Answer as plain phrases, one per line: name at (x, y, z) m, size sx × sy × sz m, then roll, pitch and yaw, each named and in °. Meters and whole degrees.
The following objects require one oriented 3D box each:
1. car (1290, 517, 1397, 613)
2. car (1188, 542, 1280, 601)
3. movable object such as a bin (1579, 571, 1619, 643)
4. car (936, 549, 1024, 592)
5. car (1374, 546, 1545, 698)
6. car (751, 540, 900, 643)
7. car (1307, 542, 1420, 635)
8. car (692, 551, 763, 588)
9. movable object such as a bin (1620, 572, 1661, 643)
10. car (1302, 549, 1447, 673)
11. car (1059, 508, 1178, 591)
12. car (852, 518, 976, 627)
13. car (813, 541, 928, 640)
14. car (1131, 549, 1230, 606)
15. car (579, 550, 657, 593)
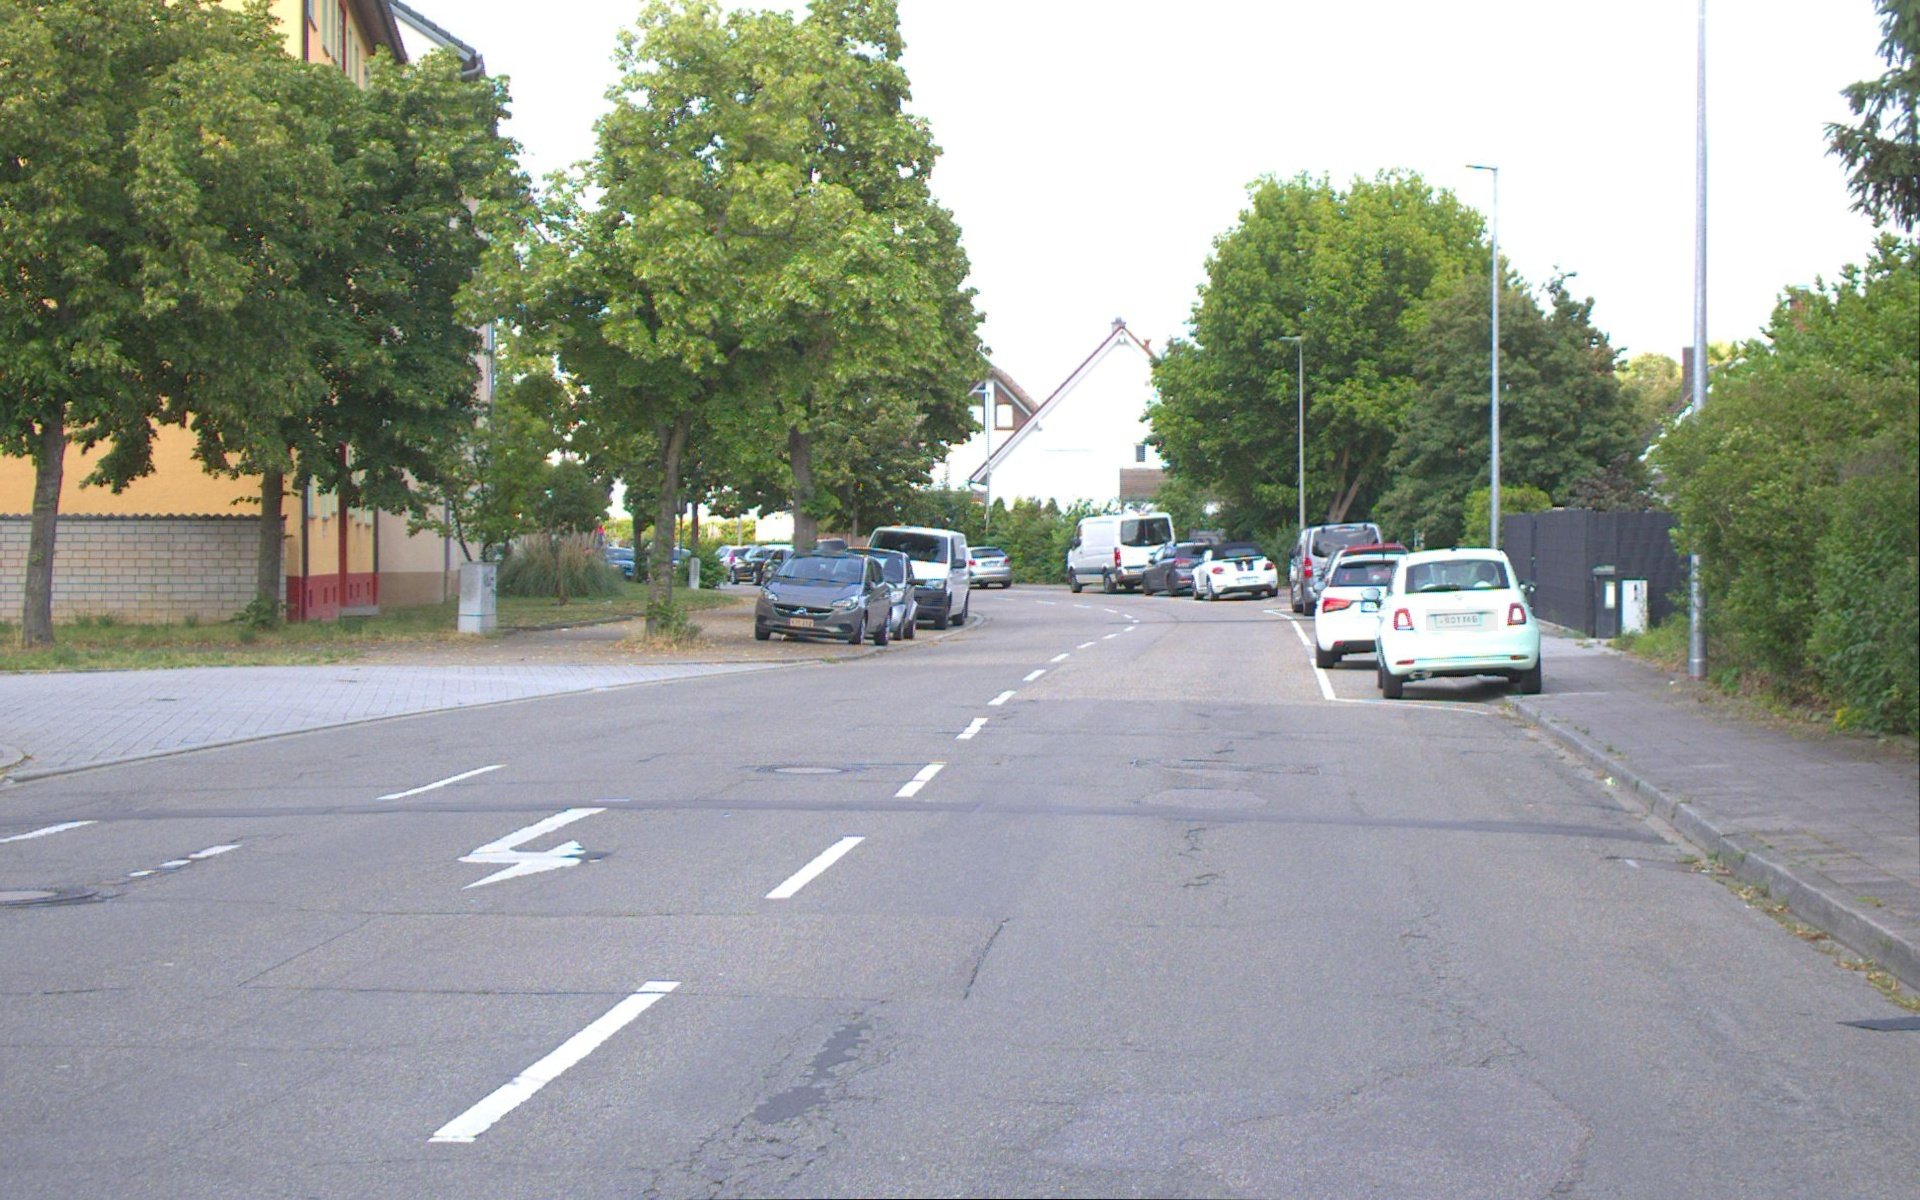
car at (8.229, -0.756, 74.140) m, size 1.842 × 1.938 × 4.876 m, roll -2°, pitch 1°, yaw 2°
car at (7.203, -0.765, 90.838) m, size 1.739 × 1.507 × 4.459 m, roll 0°, pitch 1°, yaw -4°
movable object such as a bin at (9.356, 0.097, 50.370) m, size 0.516 × 1.035 × 0.630 m, roll 1°, pitch 1°, yaw 5°
car at (0.656, -1.026, 118.474) m, size 1.737 × 1.452 × 4.366 m, roll 0°, pitch 1°, yaw -18°
car at (5.247, 0.196, 36.448) m, size 1.581 × 1.515 × 3.755 m, roll 1°, pitch 1°, yaw 5°
car at (-2.088, -0.114, 54.424) m, size 1.684 × 1.481 × 3.983 m, roll 3°, pitch 0°, yaw 7°
car at (7.137, -0.231, 61.135) m, size 1.850 × 1.574 × 4.732 m, roll 1°, pitch 1°, yaw 5°
car at (-9.791, -1.308, 144.832) m, size 1.794 × 1.518 × 3.974 m, roll 0°, pitch 1°, yaw -22°
movable object such as a bin at (9.958, 0.105, 50.321) m, size 0.516 × 1.035 × 0.630 m, roll 1°, pitch 1°, yaw 5°
car at (5.313, 0.109, 43.760) m, size 1.722 × 1.481 × 3.748 m, roll 1°, pitch 1°, yaw 8°
car at (4.748, -1.526, 104.068) m, size 2.117 × 2.432 × 5.896 m, roll 0°, pitch 1°, yaw -13°
car at (-0.880, -0.576, 69.177) m, size 1.880 × 2.002 × 5.321 m, roll 4°, pitch 1°, yaw 5°
car at (-1.562, -0.190, 60.892) m, size 1.518 × 1.544 × 3.755 m, roll 6°, pitch 2°, yaw 4°
car at (6.228, -0.648, 97.614) m, size 1.717 × 1.580 × 4.125 m, roll 0°, pitch 1°, yaw -12°
car at (-12.731, -1.056, 127.637) m, size 1.786 × 1.452 × 4.436 m, roll 4°, pitch -1°, yaw -19°
